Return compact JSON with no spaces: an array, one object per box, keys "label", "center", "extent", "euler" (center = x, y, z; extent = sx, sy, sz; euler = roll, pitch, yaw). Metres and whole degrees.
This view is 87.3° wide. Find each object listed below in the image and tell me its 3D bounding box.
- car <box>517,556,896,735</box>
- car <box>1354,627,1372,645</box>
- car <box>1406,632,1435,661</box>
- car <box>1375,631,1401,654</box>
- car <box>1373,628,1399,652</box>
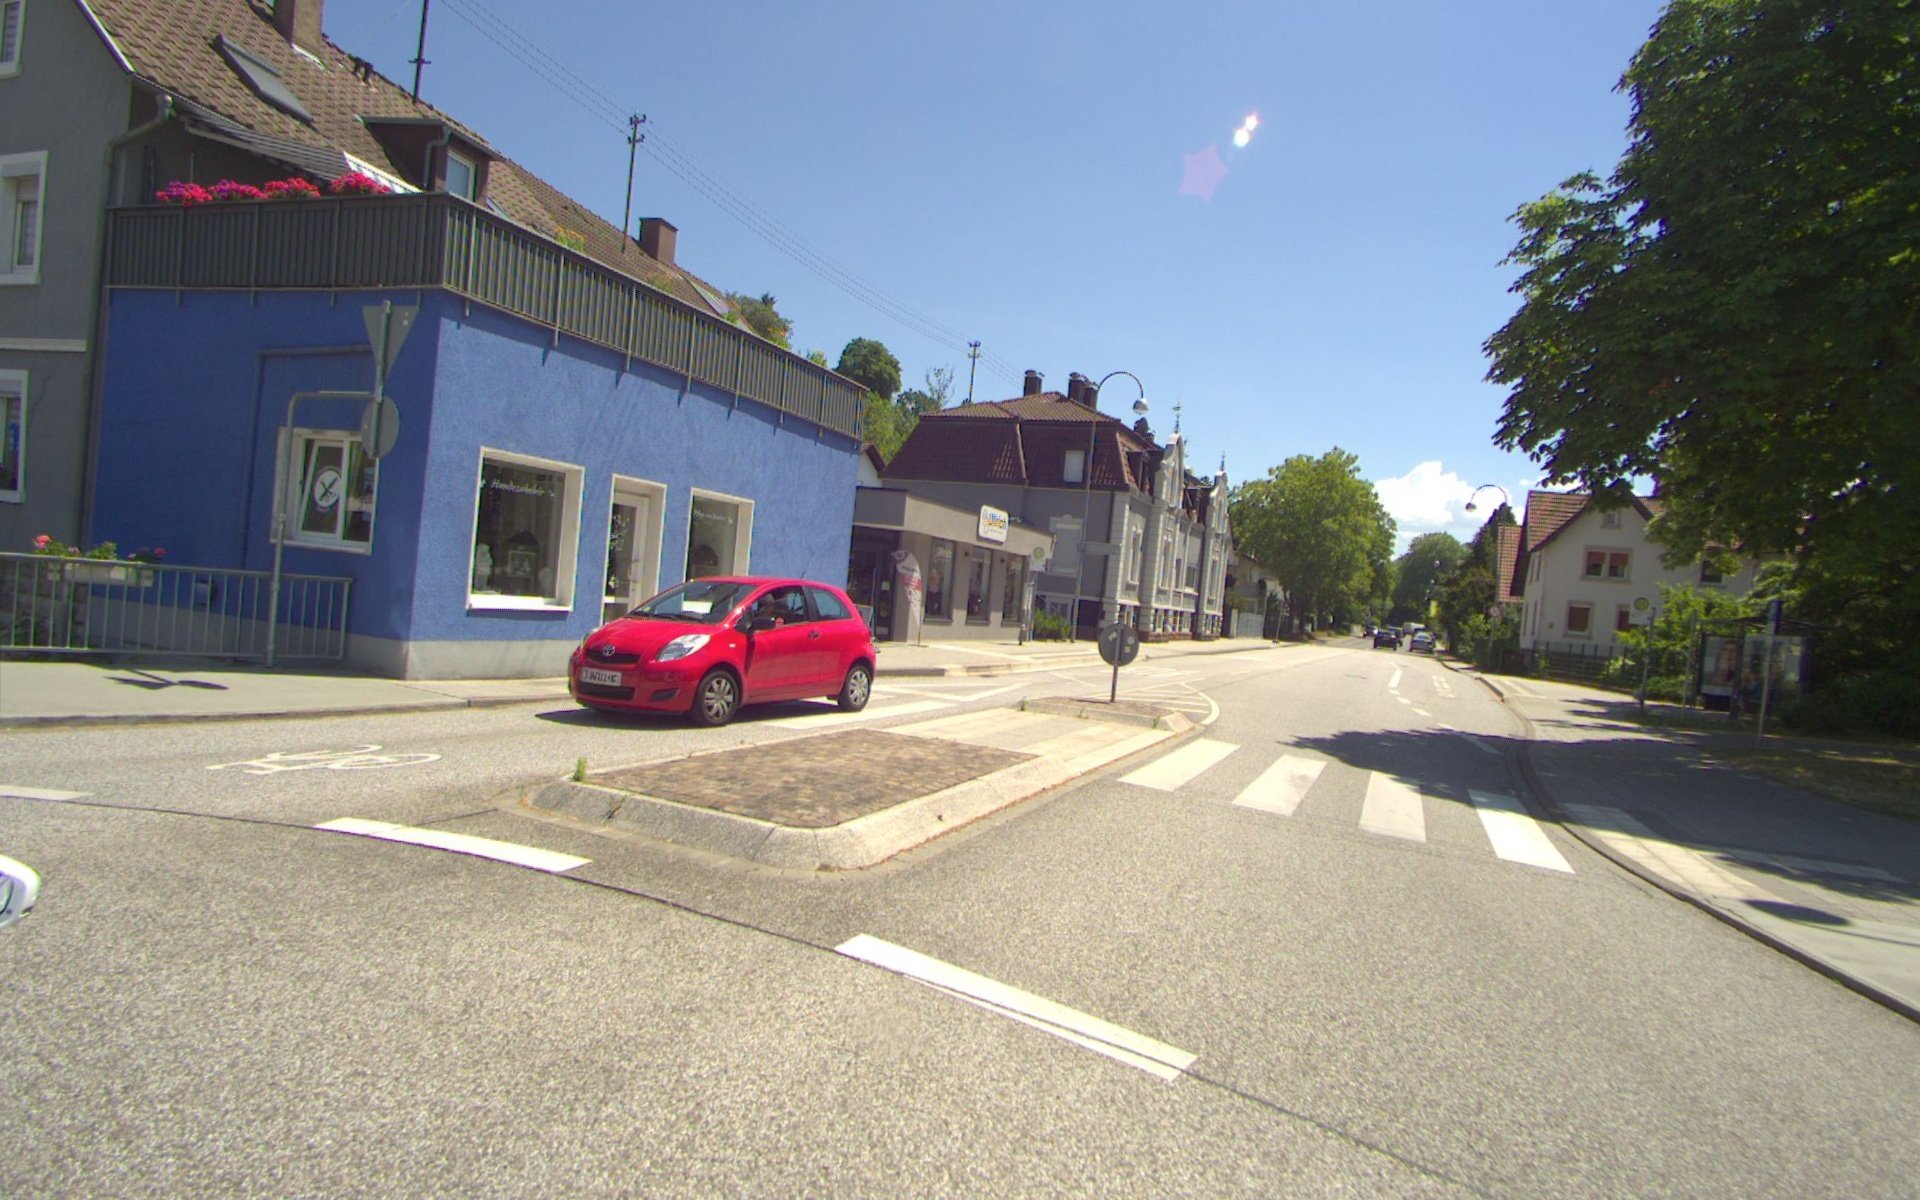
[{"label":"car","center":[-2.532,0.465,11.068],"extent":[1.803,1.552,3.993],"euler":[3,-1,28]},{"label":"car","center":[53.659,4.823,133.964],"extent":[1.964,2.038,3.999],"euler":[7,-1,24]},{"label":"car","center":[39.003,3.959,85.243],"extent":[1.964,2.038,3.999],"euler":[7,-1,24]},{"label":"car","center":[43.009,4.311,101.234],"extent":[1.963,2.038,4.001],"euler":[7,-1,21]},{"label":"car","center":[35.213,3.290,83.208],"extent":[1.708,1.726,4.000],"euler":[5,-2,21]}]
